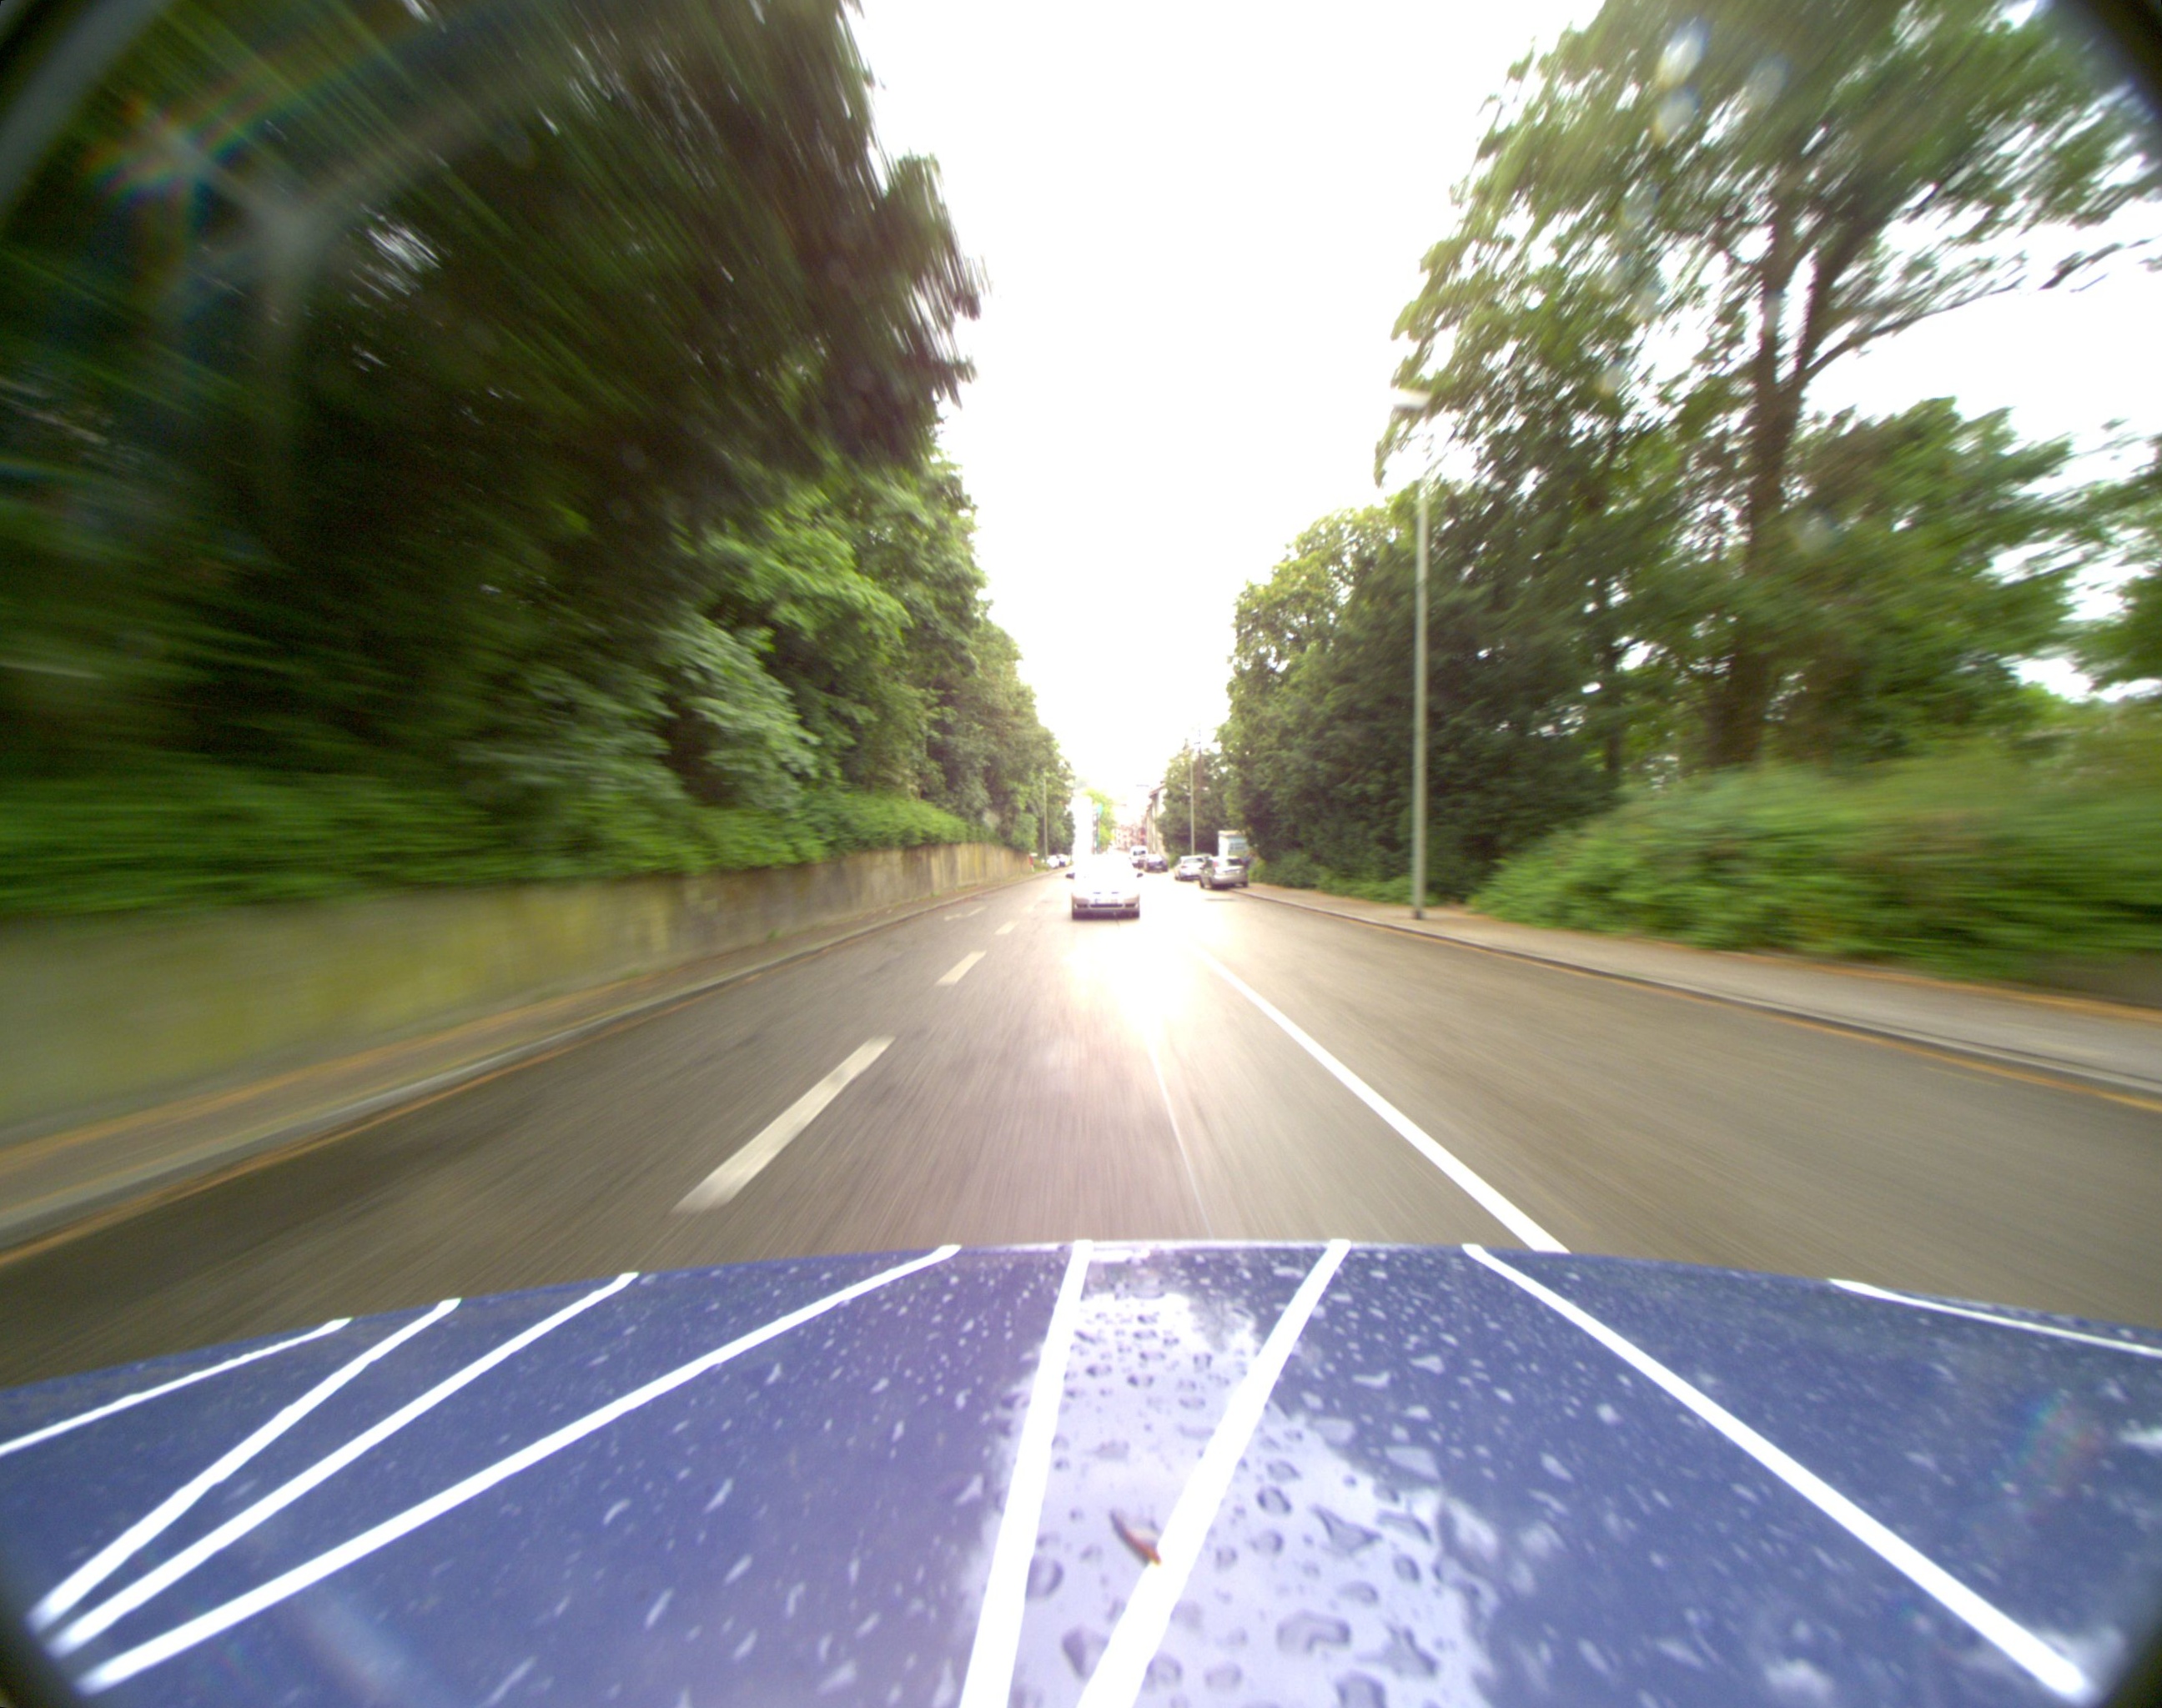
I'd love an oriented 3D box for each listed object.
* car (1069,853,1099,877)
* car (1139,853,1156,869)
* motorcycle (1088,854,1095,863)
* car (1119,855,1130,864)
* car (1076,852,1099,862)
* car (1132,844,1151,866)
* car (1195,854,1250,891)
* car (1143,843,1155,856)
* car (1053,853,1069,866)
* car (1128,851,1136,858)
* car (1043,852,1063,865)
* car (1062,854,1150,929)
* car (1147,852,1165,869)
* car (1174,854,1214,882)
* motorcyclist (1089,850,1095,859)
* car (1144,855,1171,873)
[{"bbox_3d":[0.238,0.770,55.528,1.998,1.603,3.967,-1,0,3],"label":"car"},{"bbox_3d":[6.957,0.694,79.906,1.648,1.595,4.187,2,0,4],"label":"car"},{"bbox_3d":[1.502,0.596,105.218,0.778,1.120,2.300,-2,0,6],"label":"motorcycle"},{"bbox_3d":[7.359,0.972,129.330,1.765,1.482,4.001,-2,0,4],"label":"car"},{"bbox_3d":[1.217,0.560,143.319,4.192,1.565,1.804,2,1,3],"label":"car"},{"bbox_3d":[7.263,0.089,91.368,2.122,2.536,5.445,2,0,3],"label":"car"},{"bbox_3d":[6.458,0.802,34.991,1.630,1.490,3.927,-3,0,-2],"label":"car"},{"bbox_3d":[13.986,-0.876,156.230,2.122,2.536,5.445,2,0,3],"label":"car"},{"bbox_3d":[-2.540,0.733,98.940,1.769,1.614,4.679,0,1,2],"label":"car"},{"bbox_3d":[12.165,0.107,180.360,1.908,1.647,4.329,1,0,3],"label":"car"},{"bbox_3d":[-3.226,0.524,88.699,1.742,1.469,4.741,1,0,4],"label":"car"},{"bbox_3d":[0.740,0.828,18.933,1.825,1.603,4.190,-2,0,6],"label":"car"},{"bbox_3d":[7.286,0.606,74.227,1.659,1.560,4.149,0,0,4],"label":"car"},{"bbox_3d":[6.875,0.798,46.691,1.891,1.602,4.239,1,0,1],"label":"car"},{"bbox_3d":[1.477,0.076,105.186,0.778,1.120,0.549,-2,1,5],"label":"motorcyclist"},{"bbox_3d":[6.771,0.860,67.311,1.864,1.485,4.755,3,0,0],"label":"car"}]
